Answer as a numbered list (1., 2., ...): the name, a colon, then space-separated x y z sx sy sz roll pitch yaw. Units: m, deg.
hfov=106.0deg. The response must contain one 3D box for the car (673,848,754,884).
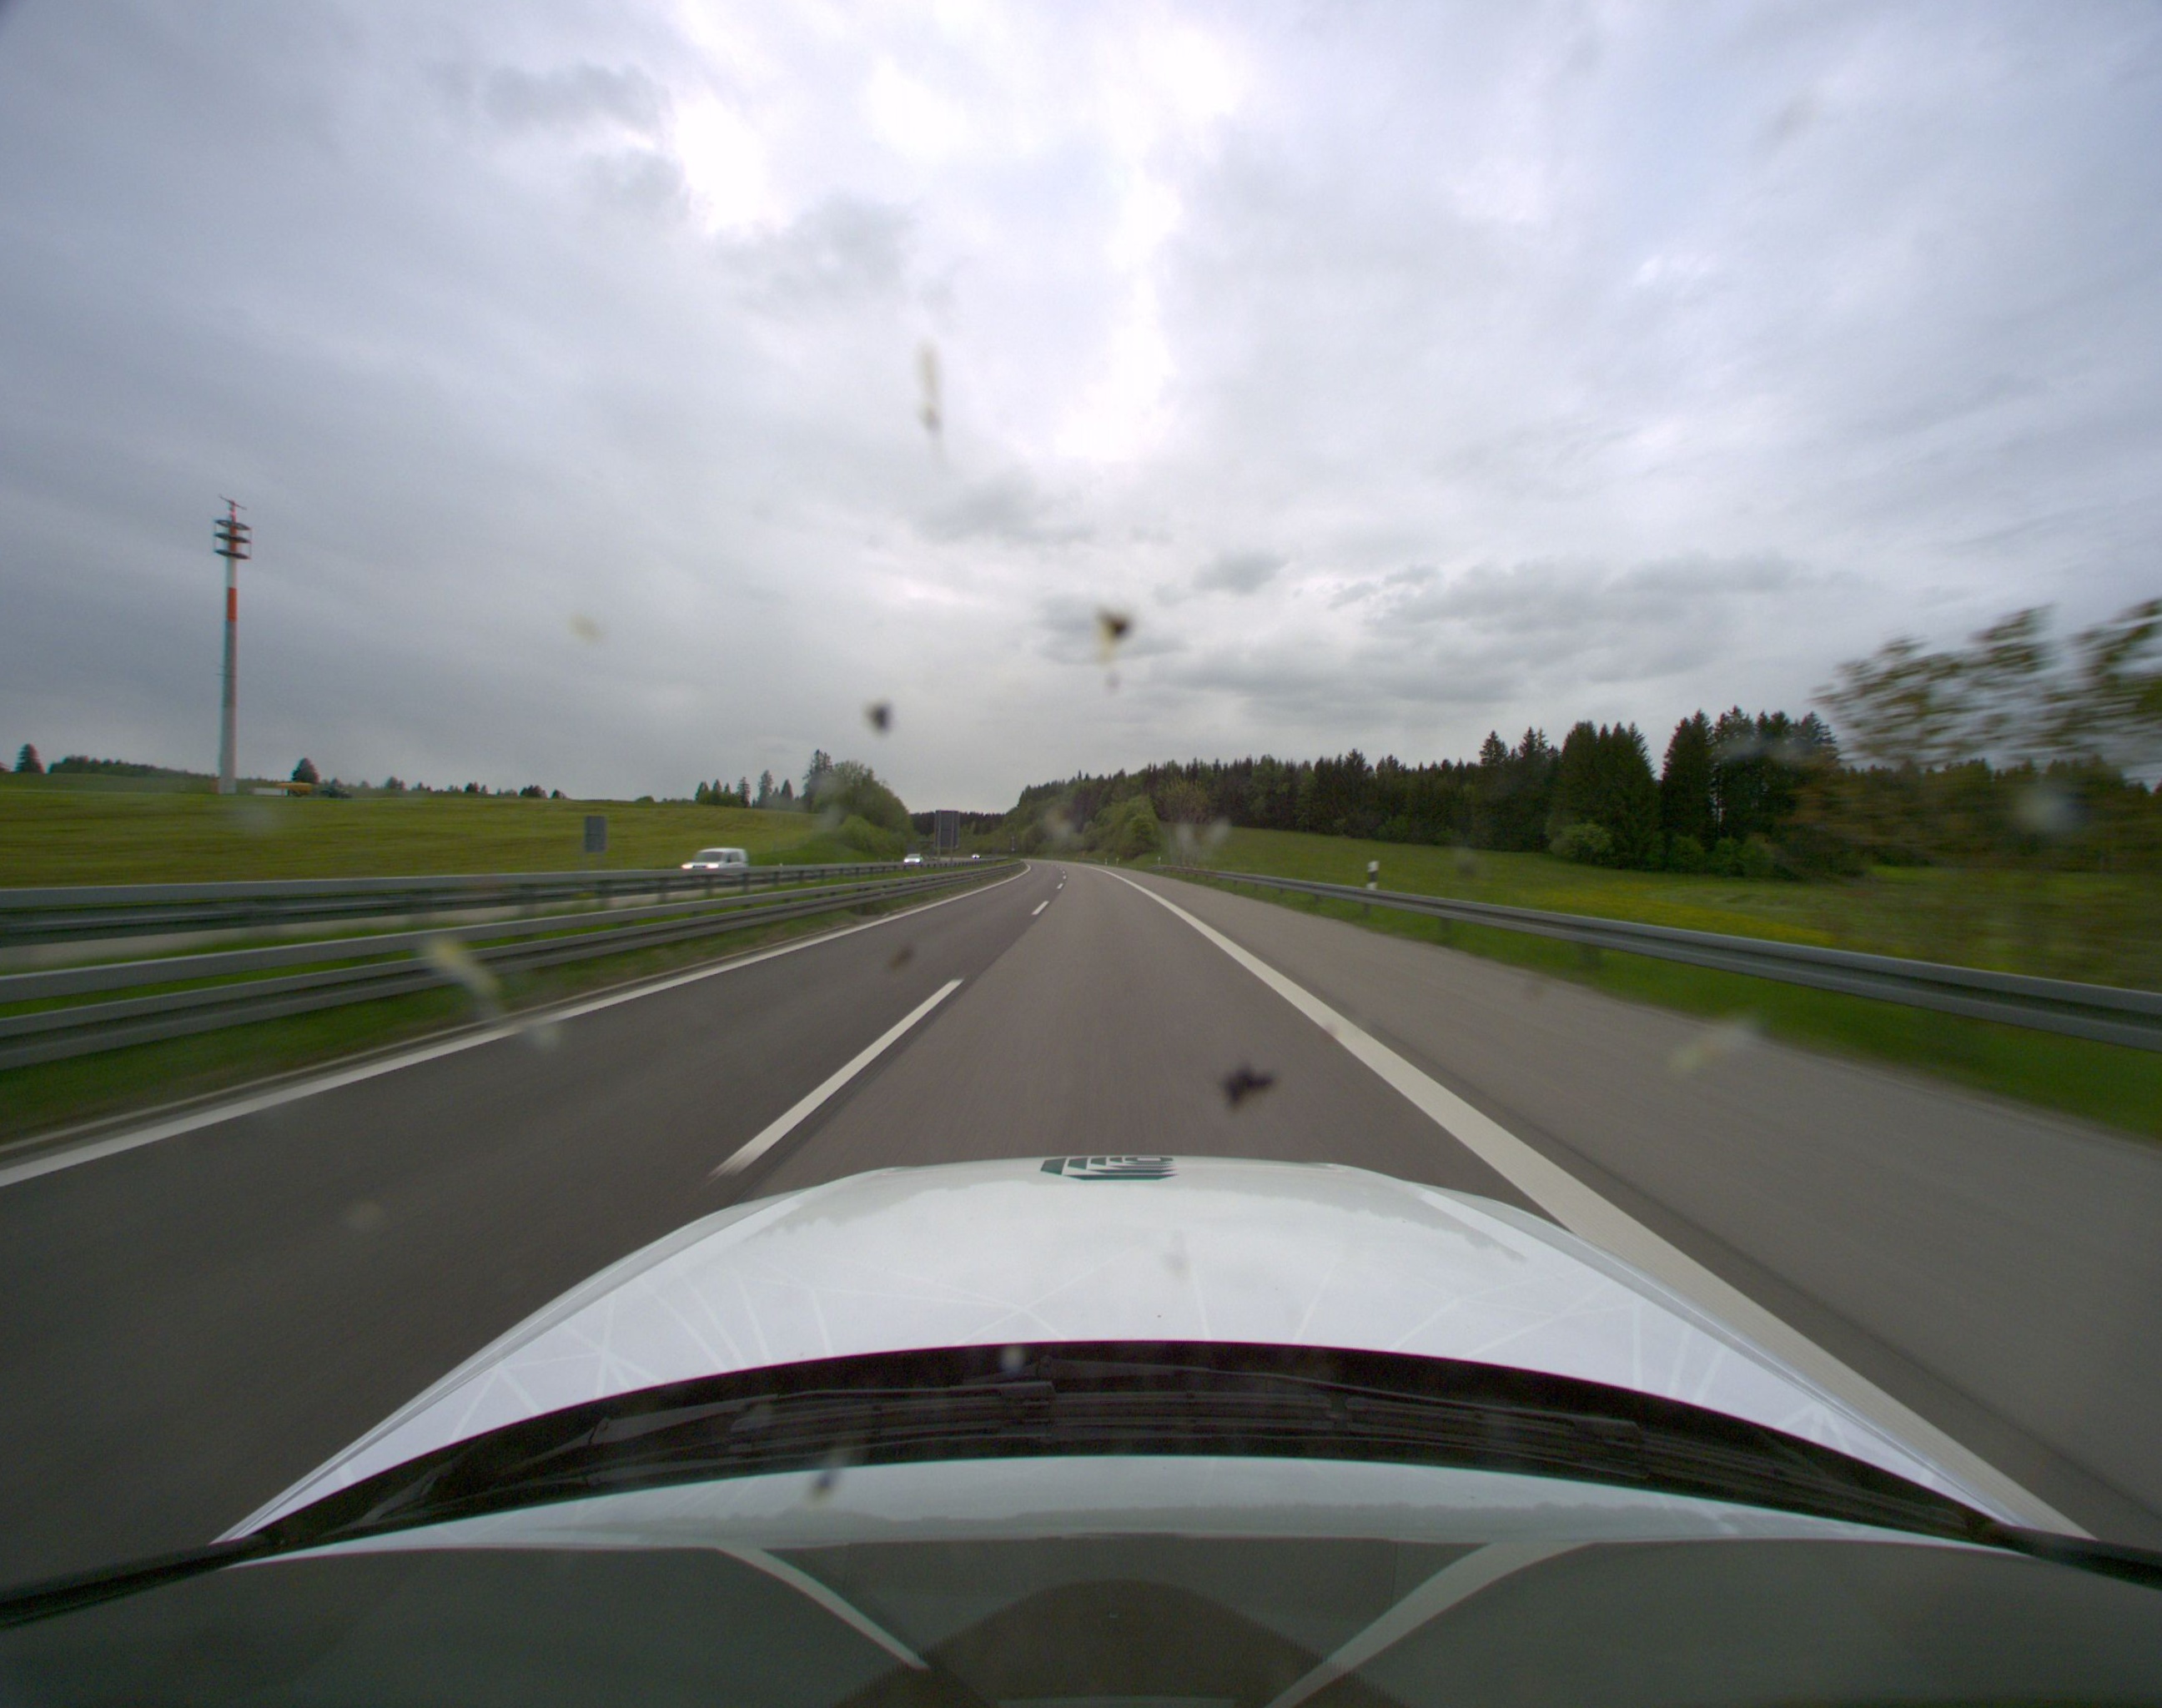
1. car: -18.992 0.598 42.349 1.986 1.686 4.628 2 0 1

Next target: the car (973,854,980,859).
1. car: -32.389 0.671 252.286 1.993 1.429 4.450 2 0 -9

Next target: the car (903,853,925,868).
1. car: -21.200 0.784 103.392 2.031 1.690 5.048 2 0 -4
